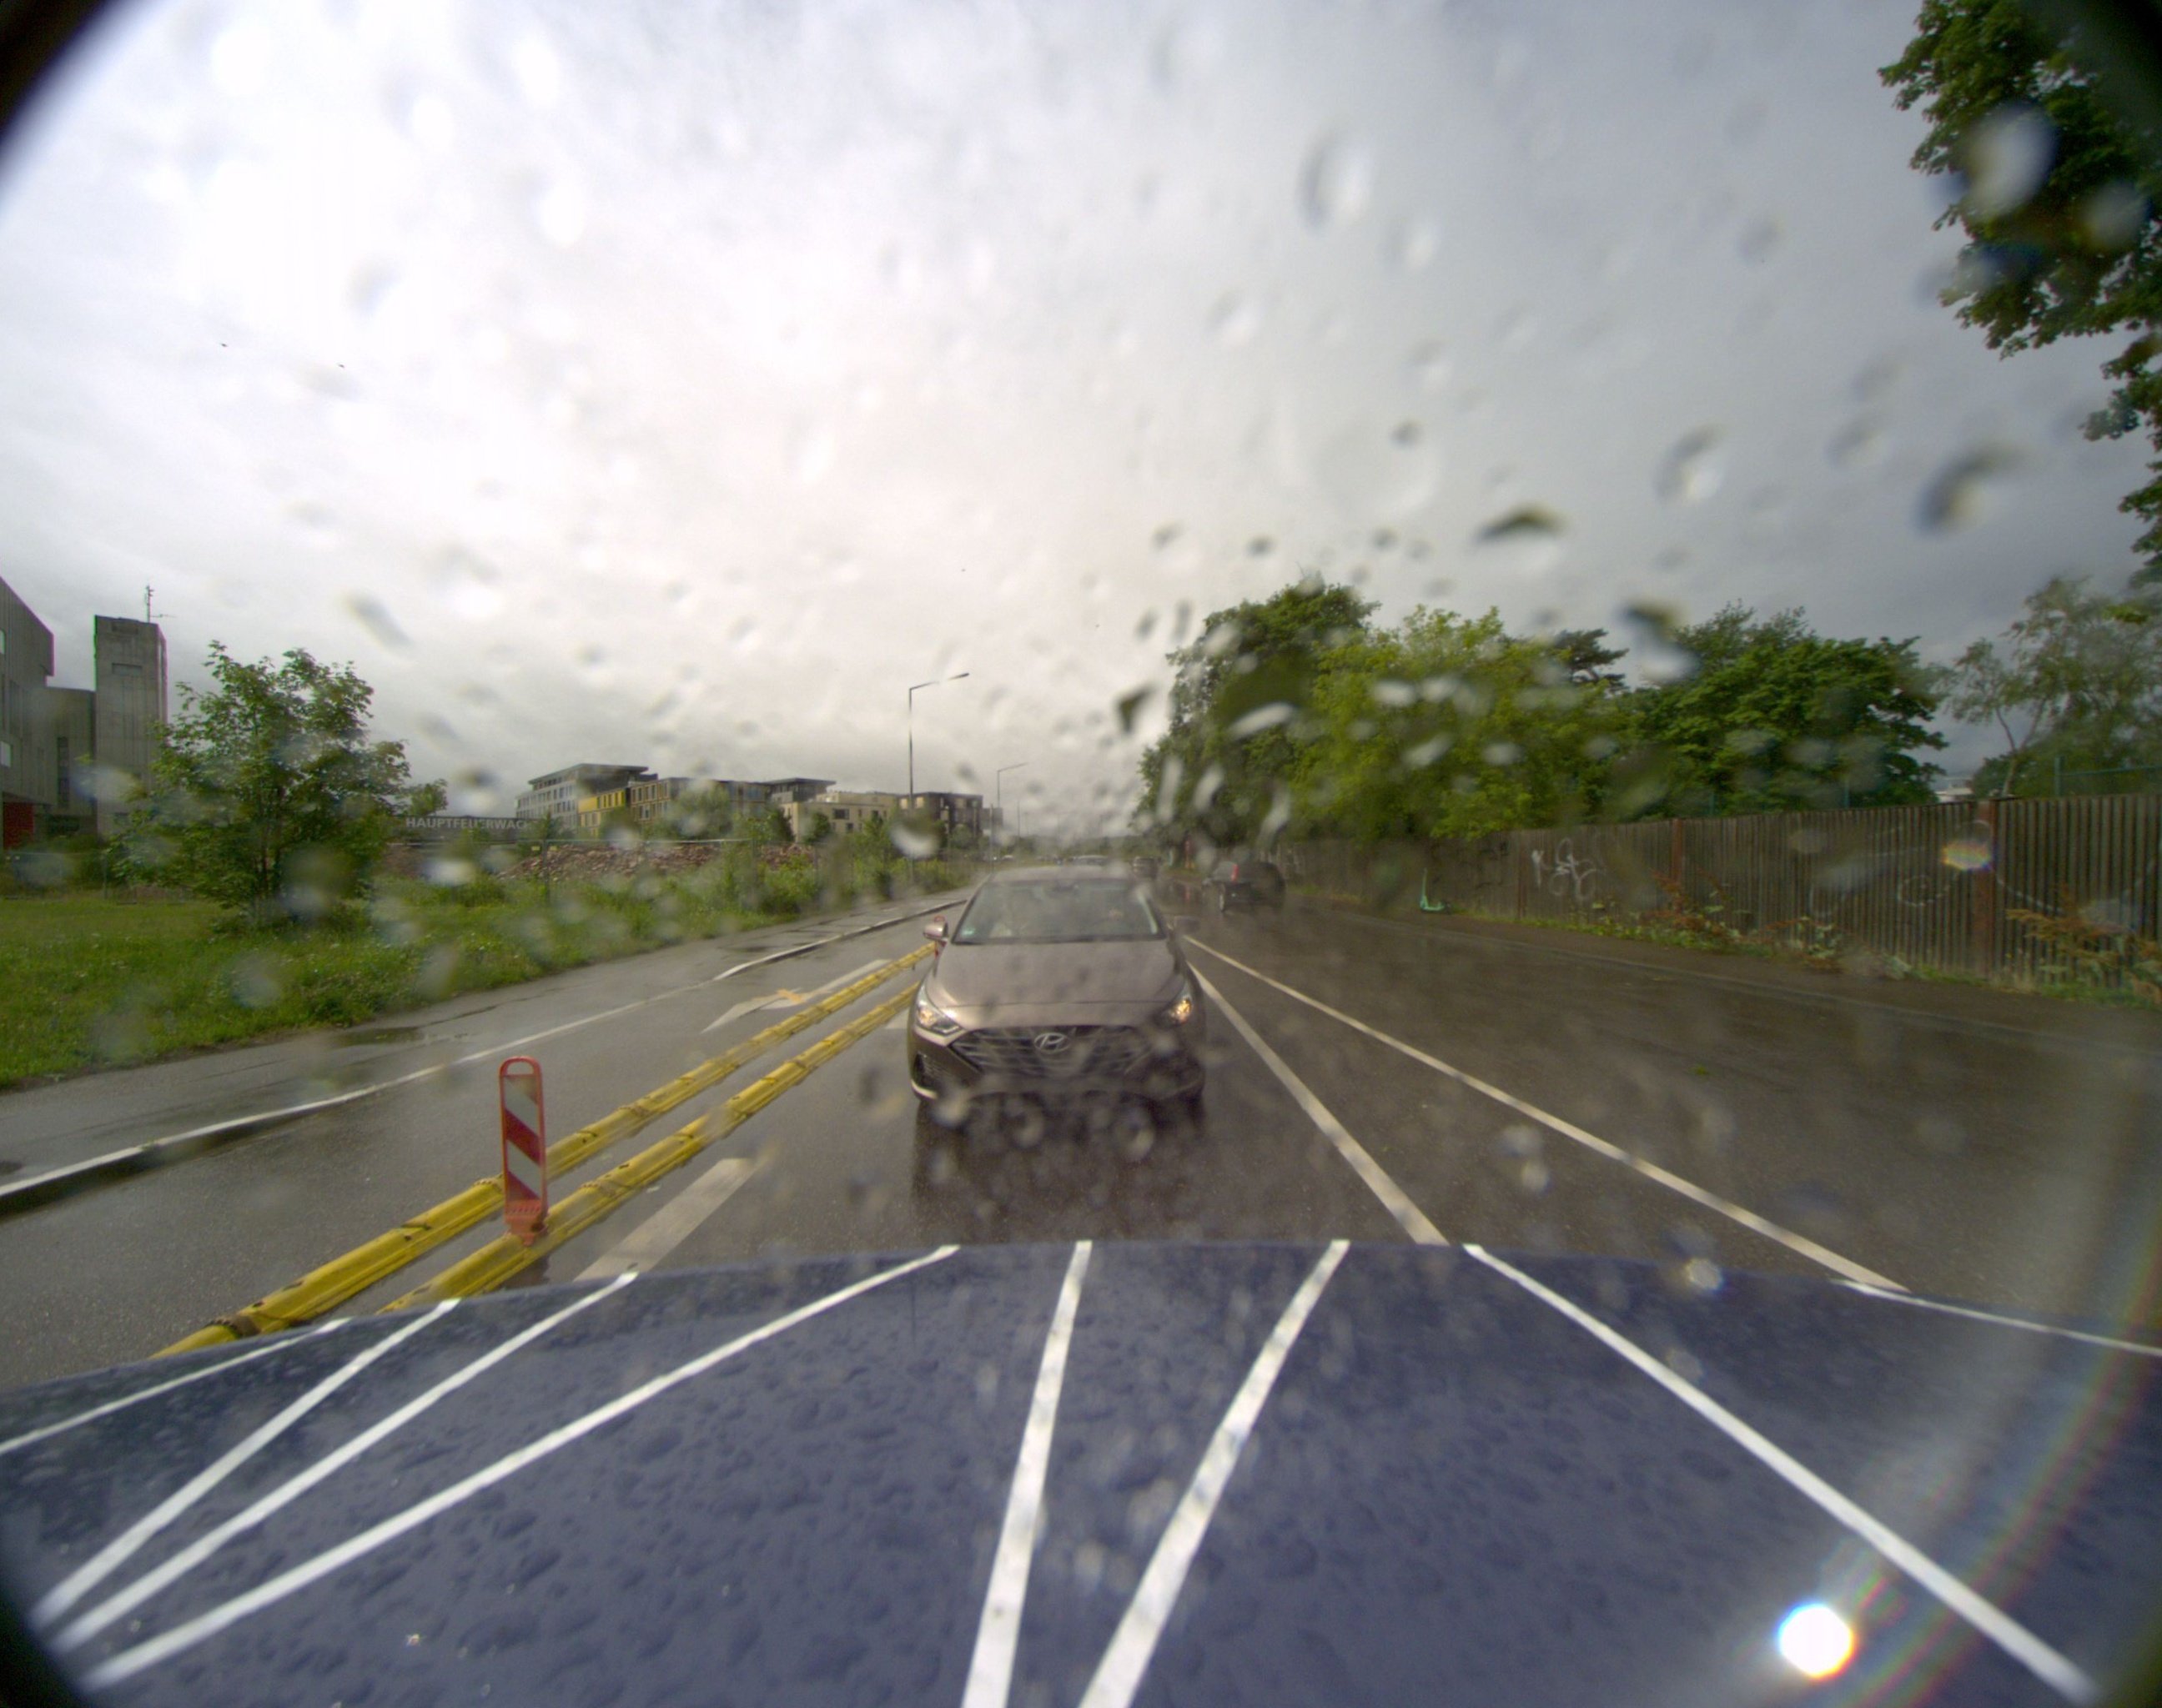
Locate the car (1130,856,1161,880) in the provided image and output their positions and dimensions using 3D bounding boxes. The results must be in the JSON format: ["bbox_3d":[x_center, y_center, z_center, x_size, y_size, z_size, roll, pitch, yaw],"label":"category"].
[{"bbox_3d":[4.371,0.931,51.989,1.785,1.543,4.426,2,0,0],"label":"car"}]

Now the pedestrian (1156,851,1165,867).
[{"bbox_3d":[8.626,0.533,82.547,0.841,1.759,0.644,0,1,1],"label":"pedestrian"}]

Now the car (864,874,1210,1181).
[{"bbox_3d":[-0.253,0.924,5.753,1.724,1.423,3.818,-1,0,-1],"label":"car"}]

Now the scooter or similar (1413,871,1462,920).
[{"bbox_3d":[8.844,1.008,18.883,0.564,1.156,1.207,-1,1,-6],"label":"scooter or similar"}]

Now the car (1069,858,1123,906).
[{"bbox_3d":[0.493,0.931,26.704,1.734,1.539,3.770,-1,0,0],"label":"car"}]

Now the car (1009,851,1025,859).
[{"bbox_3d":[-17.528,0.343,207.179,4.008,2.002,1.994,-1,0,-43],"label":"car"}]

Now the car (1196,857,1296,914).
[{"bbox_3d":[4.849,0.883,22.895,1.880,1.474,4.176,0,1,-4],"label":"car"}]
